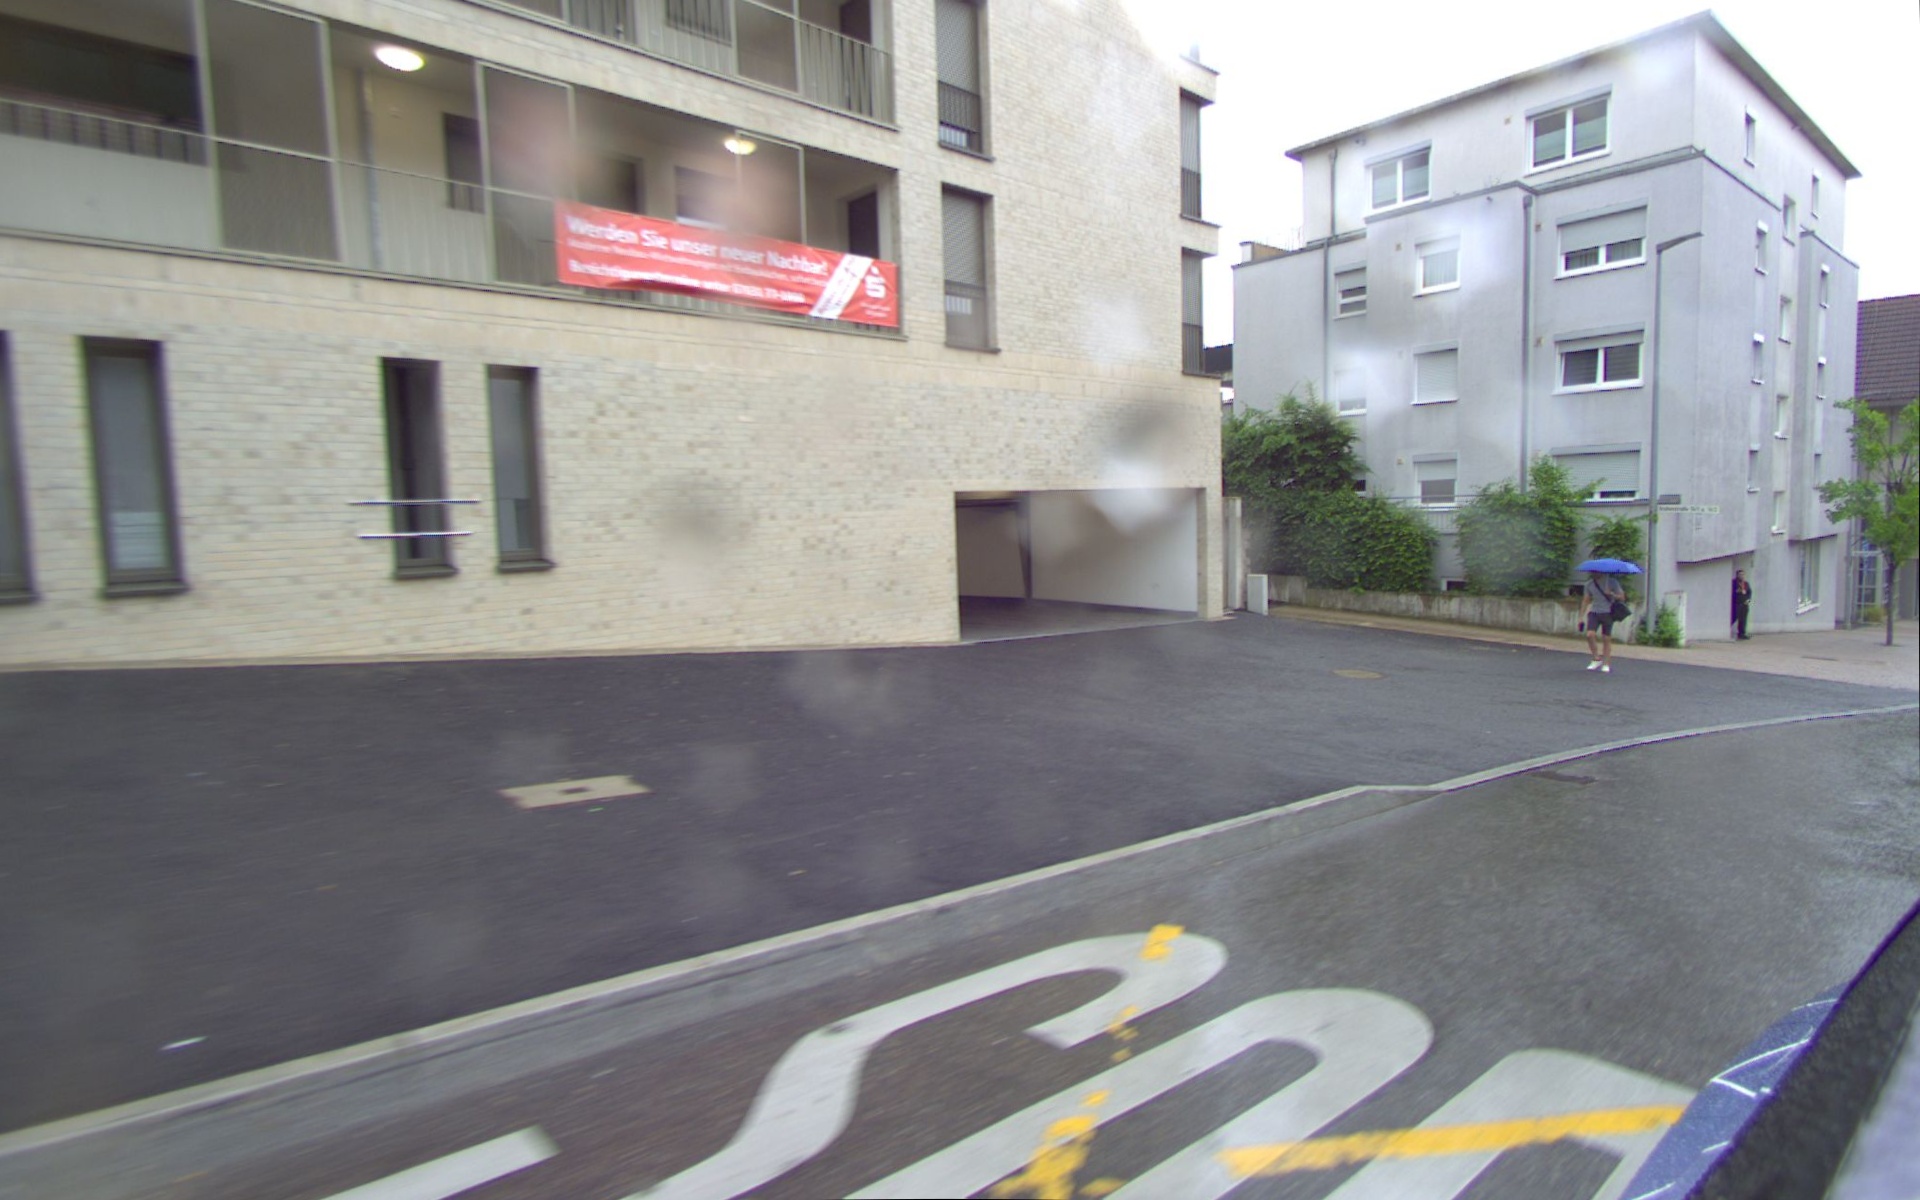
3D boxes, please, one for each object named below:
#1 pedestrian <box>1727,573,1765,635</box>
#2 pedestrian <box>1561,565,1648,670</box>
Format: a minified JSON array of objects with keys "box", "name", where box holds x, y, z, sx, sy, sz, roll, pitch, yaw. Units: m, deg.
[{"box":[20.769,0.094,26.746,0.690,1.575,0.699,2,2,44],"name":"pedestrian"},{"box":[10.265,0.259,16.121,1.019,1.560,0.738,0,5,-37],"name":"pedestrian"}]
